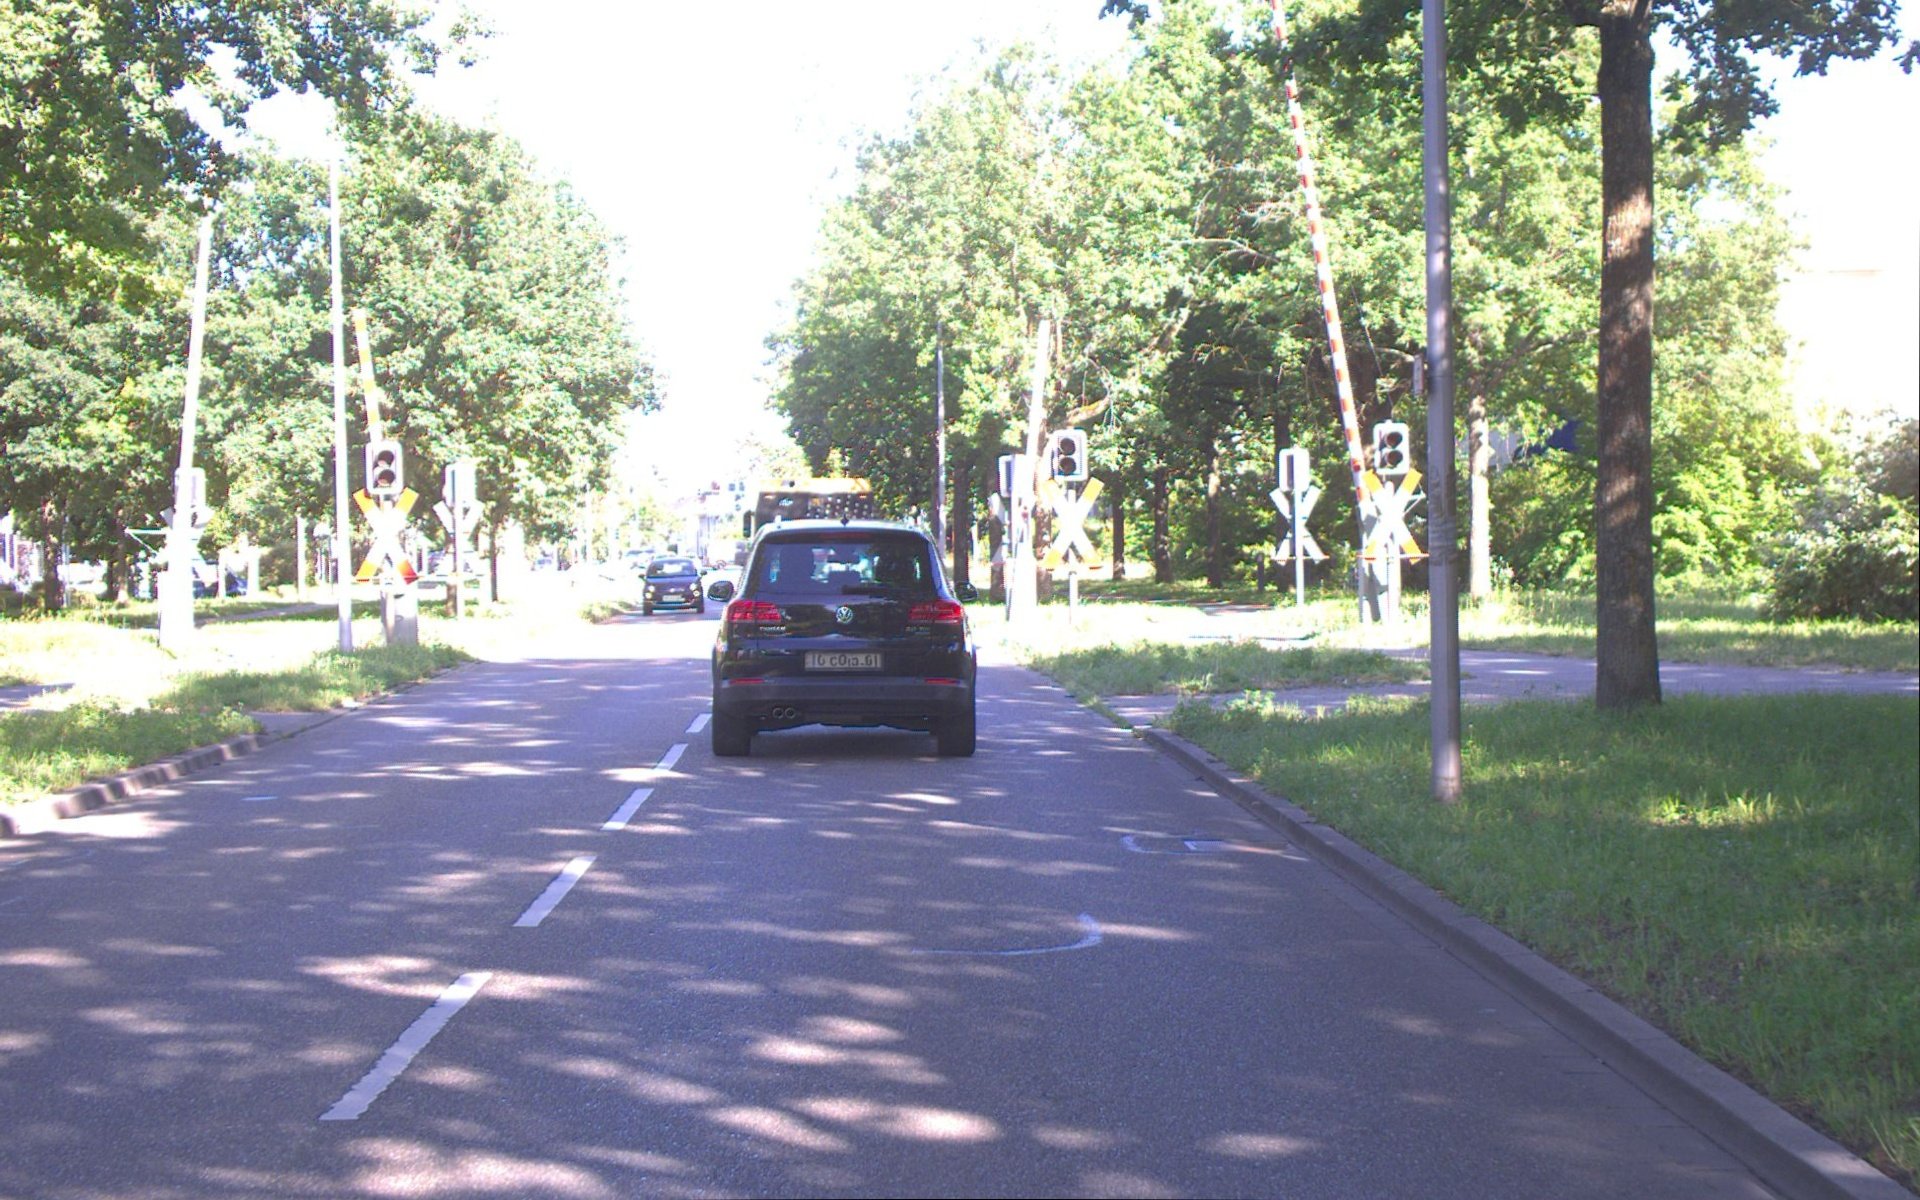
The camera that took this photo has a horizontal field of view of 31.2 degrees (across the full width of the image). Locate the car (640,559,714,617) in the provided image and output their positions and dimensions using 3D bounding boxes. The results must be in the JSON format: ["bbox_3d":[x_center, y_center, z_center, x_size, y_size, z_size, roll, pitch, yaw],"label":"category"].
[{"bbox_3d":[-7.599,-0.344,92.570,1.565,1.499,4.000,1,1,1],"label":"car"}]

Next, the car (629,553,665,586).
[{"bbox_3d":[-19.567,-1.916,215.013,1.993,2.007,4.001,1,1,-9],"label":"car"}]

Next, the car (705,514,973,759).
[{"bbox_3d":[-0.856,0.213,25.128,1.782,1.628,4.000,1,1,-1],"label":"car"}]

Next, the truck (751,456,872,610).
[{"bbox_3d":[-3.260,-1.490,77.089,2.512,3.232,8.153,-1,1,-1],"label":"truck"}]
